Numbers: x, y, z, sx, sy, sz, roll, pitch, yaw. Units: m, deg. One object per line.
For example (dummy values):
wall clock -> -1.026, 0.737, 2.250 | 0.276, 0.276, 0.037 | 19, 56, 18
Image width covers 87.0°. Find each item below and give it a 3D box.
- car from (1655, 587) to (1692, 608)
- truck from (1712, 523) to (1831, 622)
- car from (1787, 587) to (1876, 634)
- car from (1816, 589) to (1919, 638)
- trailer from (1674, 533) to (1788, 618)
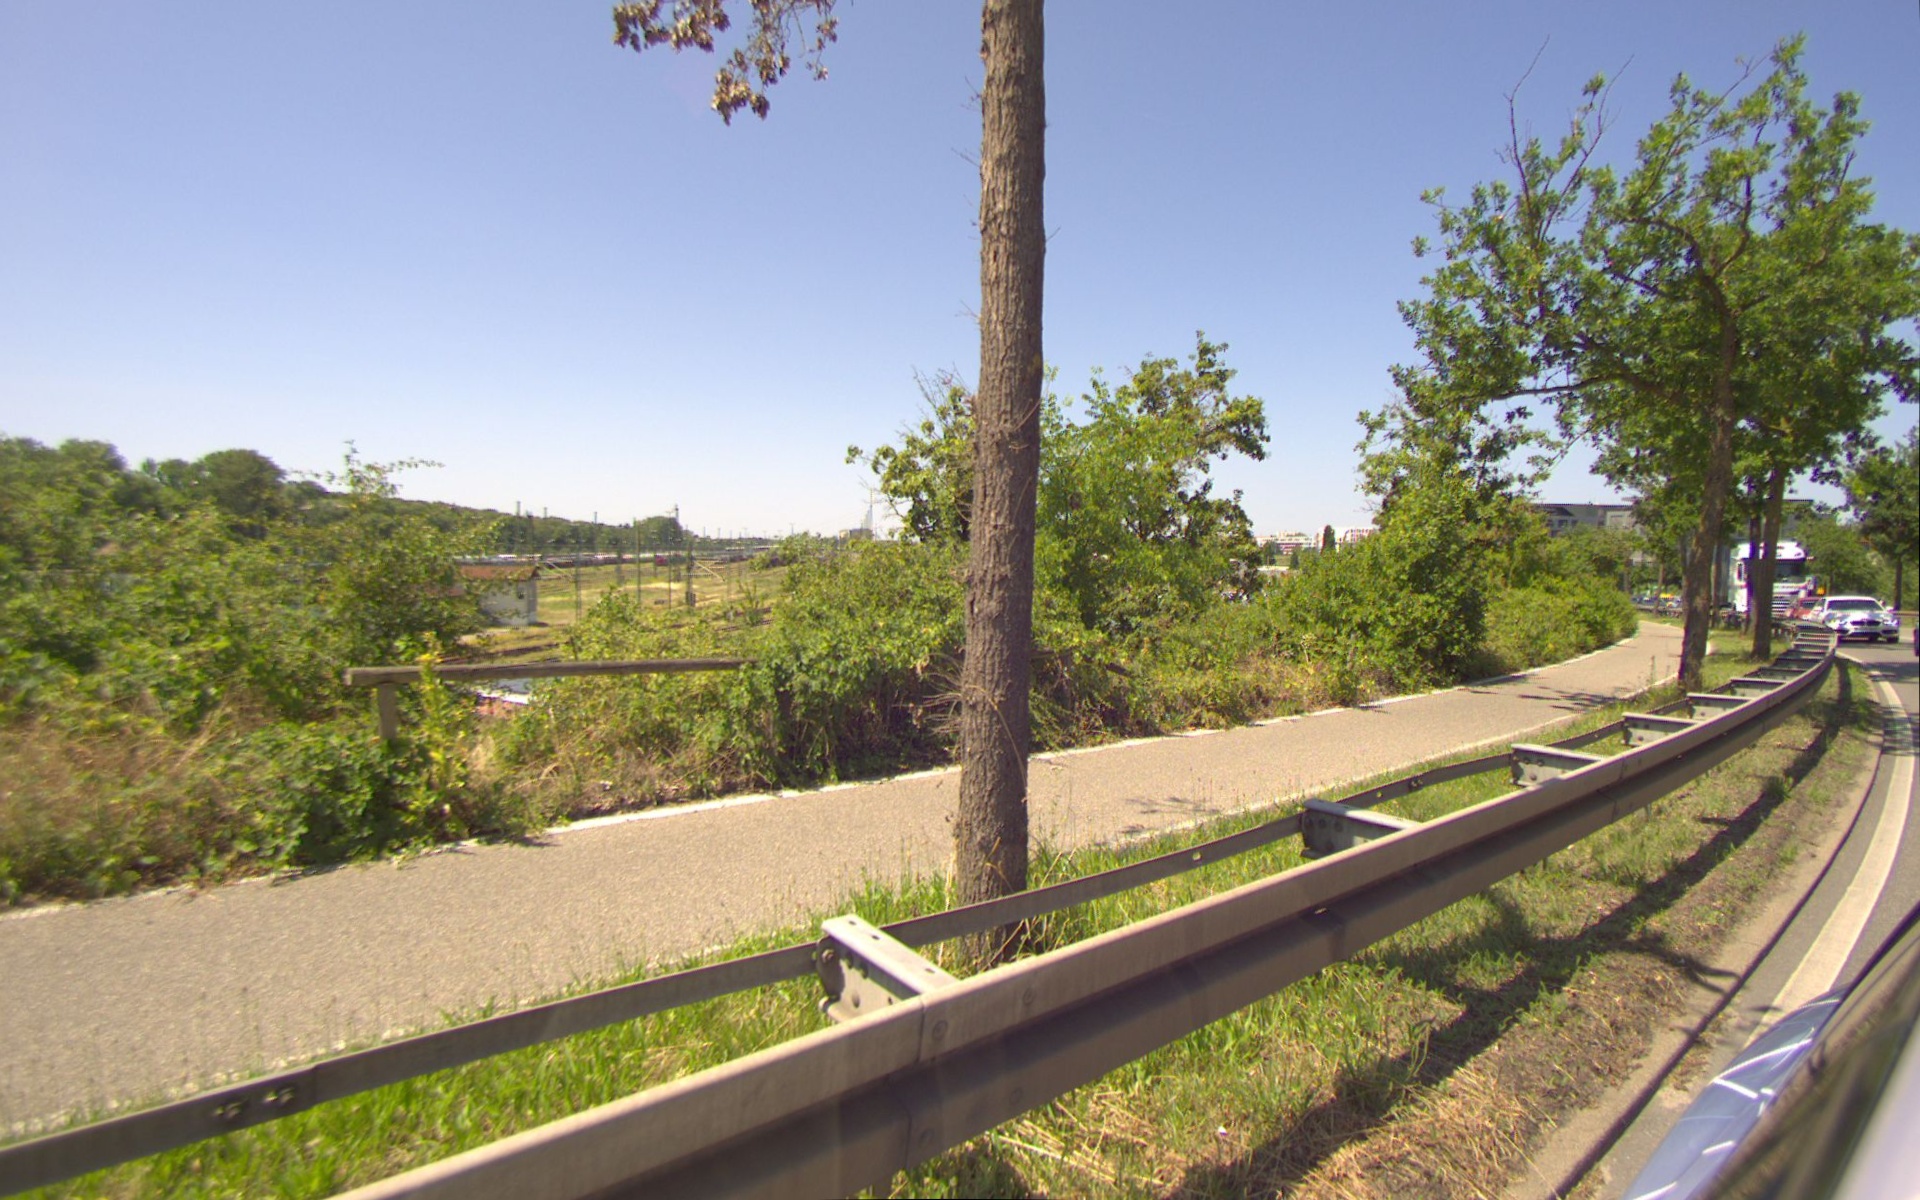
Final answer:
car -> 54.836, -0.209, 77.814 | 1.960, 1.596, 3.958 | 0, 0, 30
truck -> 38.775, -1.242, 48.710 | 2.833, 4.323, 8.729 | 0, 0, 28
car -> 34.492, 0.361, 40.160 | 1.885, 1.675, 4.214 | 0, 2, 30
car -> 28.322, 0.374, 31.711 | 1.804, 1.446, 3.672 | 0, 0, 33
trailer -> 43.303, -1.299, 57.336 | 2.856, 4.267, 13.872 | 0, 0, 28
